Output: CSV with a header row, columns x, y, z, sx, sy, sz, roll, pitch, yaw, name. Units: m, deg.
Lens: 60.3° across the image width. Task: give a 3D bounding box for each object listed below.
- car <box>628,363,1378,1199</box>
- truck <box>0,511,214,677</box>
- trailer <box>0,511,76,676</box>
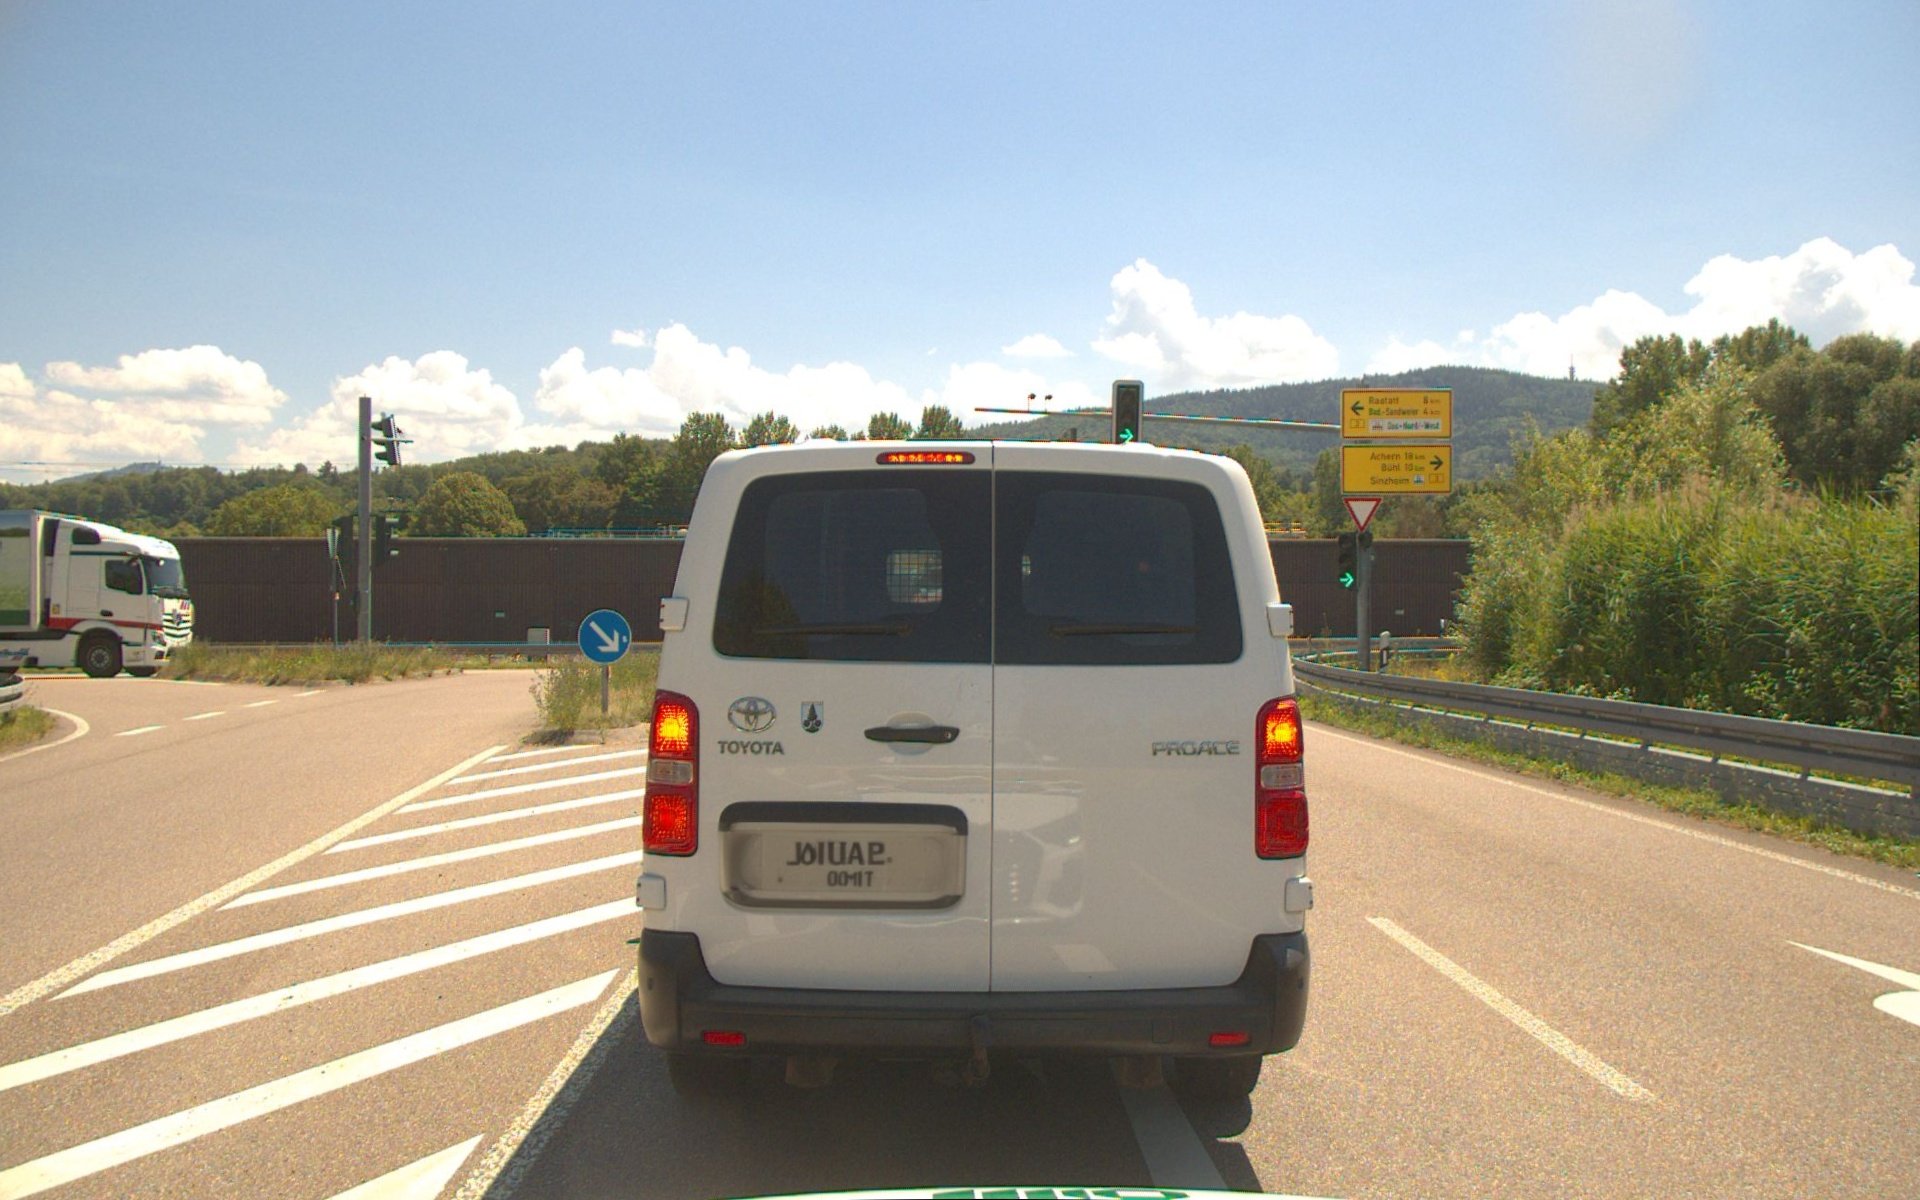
x,y,z,sx,sy,sz,roll,pitch,yaw,name
0.077,0.478,5.931,1.778,2.053,3.999,0,0,-1,car
-22.392,-0.135,41.789,5.649,4.024,3.061,0,-1,-3,truck
-29.521,-0.173,41.451,12.877,4.024,3.060,0,-1,-3,trailer
